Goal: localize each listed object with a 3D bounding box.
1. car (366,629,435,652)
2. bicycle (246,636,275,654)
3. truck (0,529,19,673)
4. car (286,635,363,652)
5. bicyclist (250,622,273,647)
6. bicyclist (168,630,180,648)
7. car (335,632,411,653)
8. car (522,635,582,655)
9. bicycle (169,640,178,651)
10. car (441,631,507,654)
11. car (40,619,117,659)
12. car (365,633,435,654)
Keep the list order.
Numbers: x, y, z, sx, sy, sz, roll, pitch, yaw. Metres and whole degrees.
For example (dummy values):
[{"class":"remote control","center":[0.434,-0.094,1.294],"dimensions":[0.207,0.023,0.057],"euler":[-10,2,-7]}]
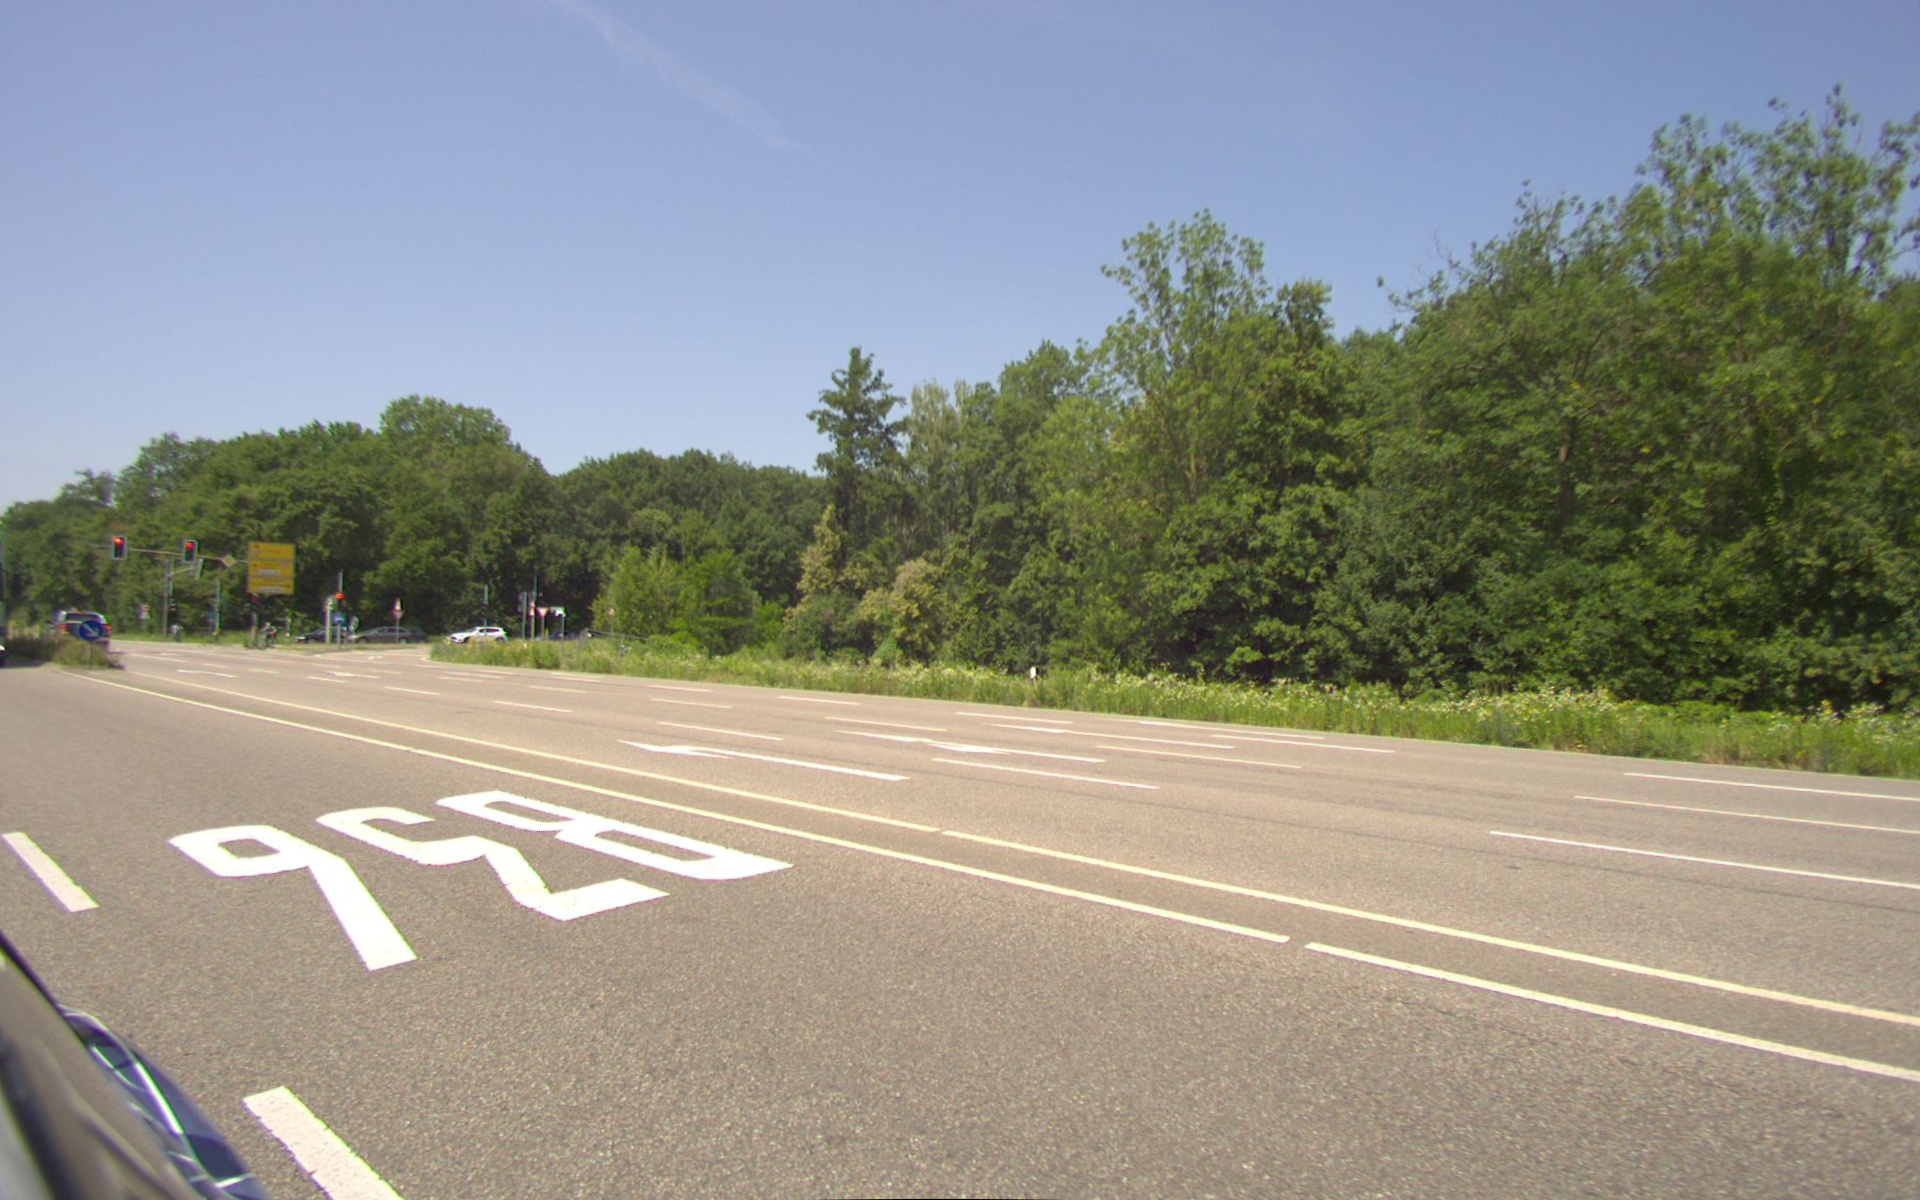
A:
[{"class":"car","center":[-48.495,3.526,87.785],"dimensions":[1.999,1.913,4.754],"euler":[-1,-4,41]},{"class":"bicycle","center":[-42.407,2.753,61.399],"dimensions":[0.712,1.071,1.873],"euler":[1,-3,-11]},{"class":"truck","center":[-31.084,0.093,30.481],"dimensions":[11.313,3.914,2.718],"euler":[-1,-2,41]},{"class":"car","center":[-50.179,3.445,79.976],"dimensions":[2.105,1.300,4.753],"euler":[-1,-4,42]},{"class":"bicyclist","center":[-42.367,2.093,61.391],"dimensions":[0.911,1.471,0.718],"euler":[1,-3,-11]},{"class":"bicyclist","center":[-64.402,3.164,82.909],"dimensions":[0.651,1.476,0.811],"euler":[3,-3,-39]},{"class":"car","center":[-45.737,3.312,78.916],"dimensions":[1.860,1.530,4.756],"euler":[-1,-4,40]},{"class":"car","center":[-37.914,4.180,94.061],"dimensions":[1.998,1.770,4.756],"euler":[-1,-4,40]},{"class":"bicycle","center":[-64.430,3.712,82.896],"dimensions":[0.558,0.930,1.608],"euler":[3,-3,-39]},{"class":"car","center":[-42.615,3.730,88.820],"dimensions":[2.066,1.910,4.753],"euler":[-1,-4,42]},{"class":"car","center":[-40.257,1.764,46.180],"dimensions":[5.364,1.691,1.972],"euler":[-1,-4,42]},{"class":"car","center":[-46.553,3.605,84.179],"dimensions":[2.001,1.648,4.750],"euler":[-2,-4,45]}]
